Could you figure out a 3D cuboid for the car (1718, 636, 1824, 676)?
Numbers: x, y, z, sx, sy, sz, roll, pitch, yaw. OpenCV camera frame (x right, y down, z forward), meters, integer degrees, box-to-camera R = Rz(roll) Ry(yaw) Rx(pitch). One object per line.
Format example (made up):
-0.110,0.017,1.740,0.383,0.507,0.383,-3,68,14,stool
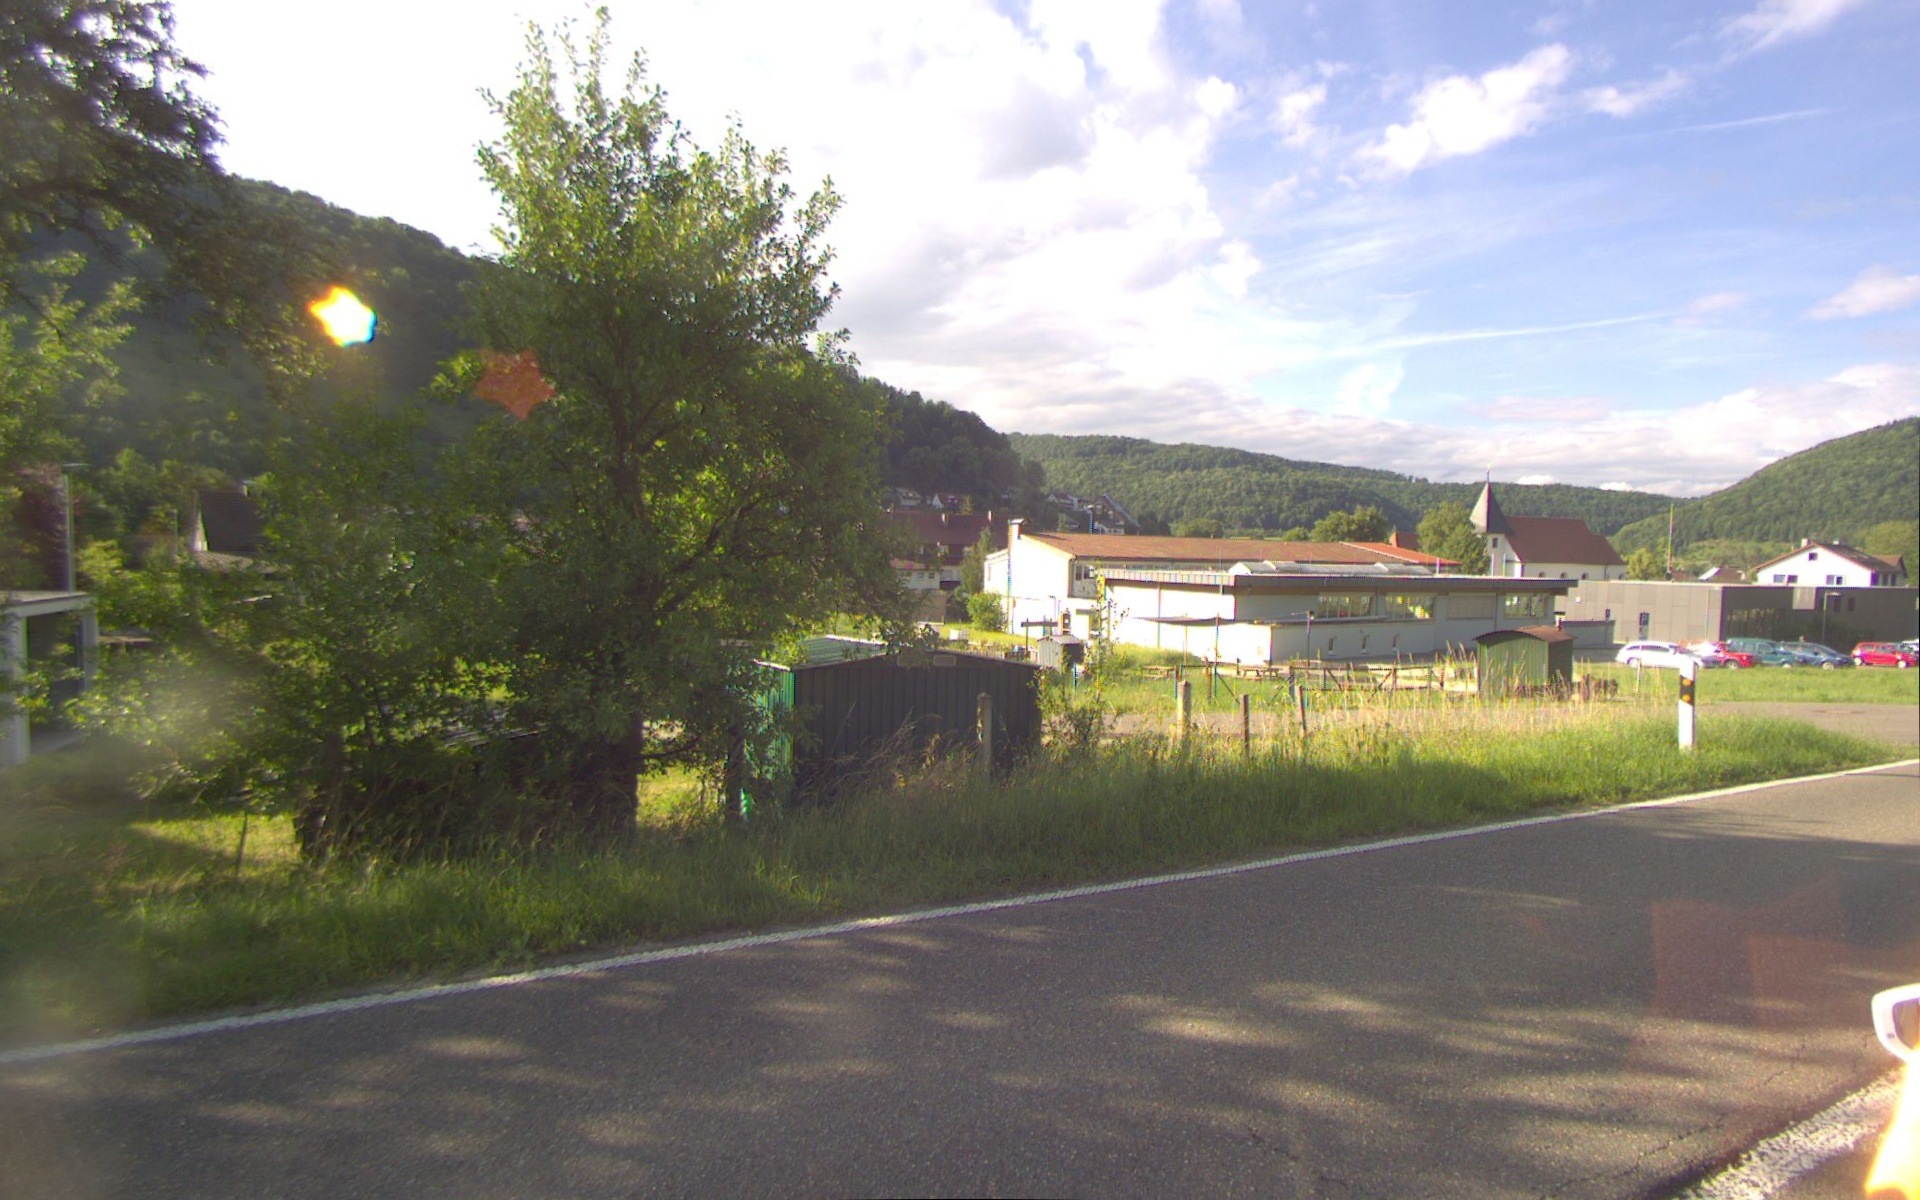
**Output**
47.292,3.250,58.665,1.978,2.034,4.382,2,0,-32,car

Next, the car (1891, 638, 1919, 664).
67.319,3.578,69.403,1.978,1.733,3.965,2,0,-32,car

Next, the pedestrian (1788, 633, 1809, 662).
60.187,3.431,72.107,0.962,2.040,0.821,2,0,-30,pedestrian

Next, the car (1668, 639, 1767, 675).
42.199,3.146,56.014,1.978,1.733,3.965,2,0,-32,car

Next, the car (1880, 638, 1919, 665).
64.441,3.476,67.146,1.978,1.733,3.965,2,0,-32,car

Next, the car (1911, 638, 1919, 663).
70.161,3.675,70.968,1.978,1.733,3.965,2,0,-32,car

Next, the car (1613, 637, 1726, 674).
39.098,3.047,55.486,1.978,1.733,4.705,2,0,-32,car

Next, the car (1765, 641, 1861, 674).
51.345,3.456,60.521,1.978,1.733,3.965,2,0,-32,car

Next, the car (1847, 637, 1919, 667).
60.430,3.340,65.116,1.978,1.733,3.965,2,0,-32,car
